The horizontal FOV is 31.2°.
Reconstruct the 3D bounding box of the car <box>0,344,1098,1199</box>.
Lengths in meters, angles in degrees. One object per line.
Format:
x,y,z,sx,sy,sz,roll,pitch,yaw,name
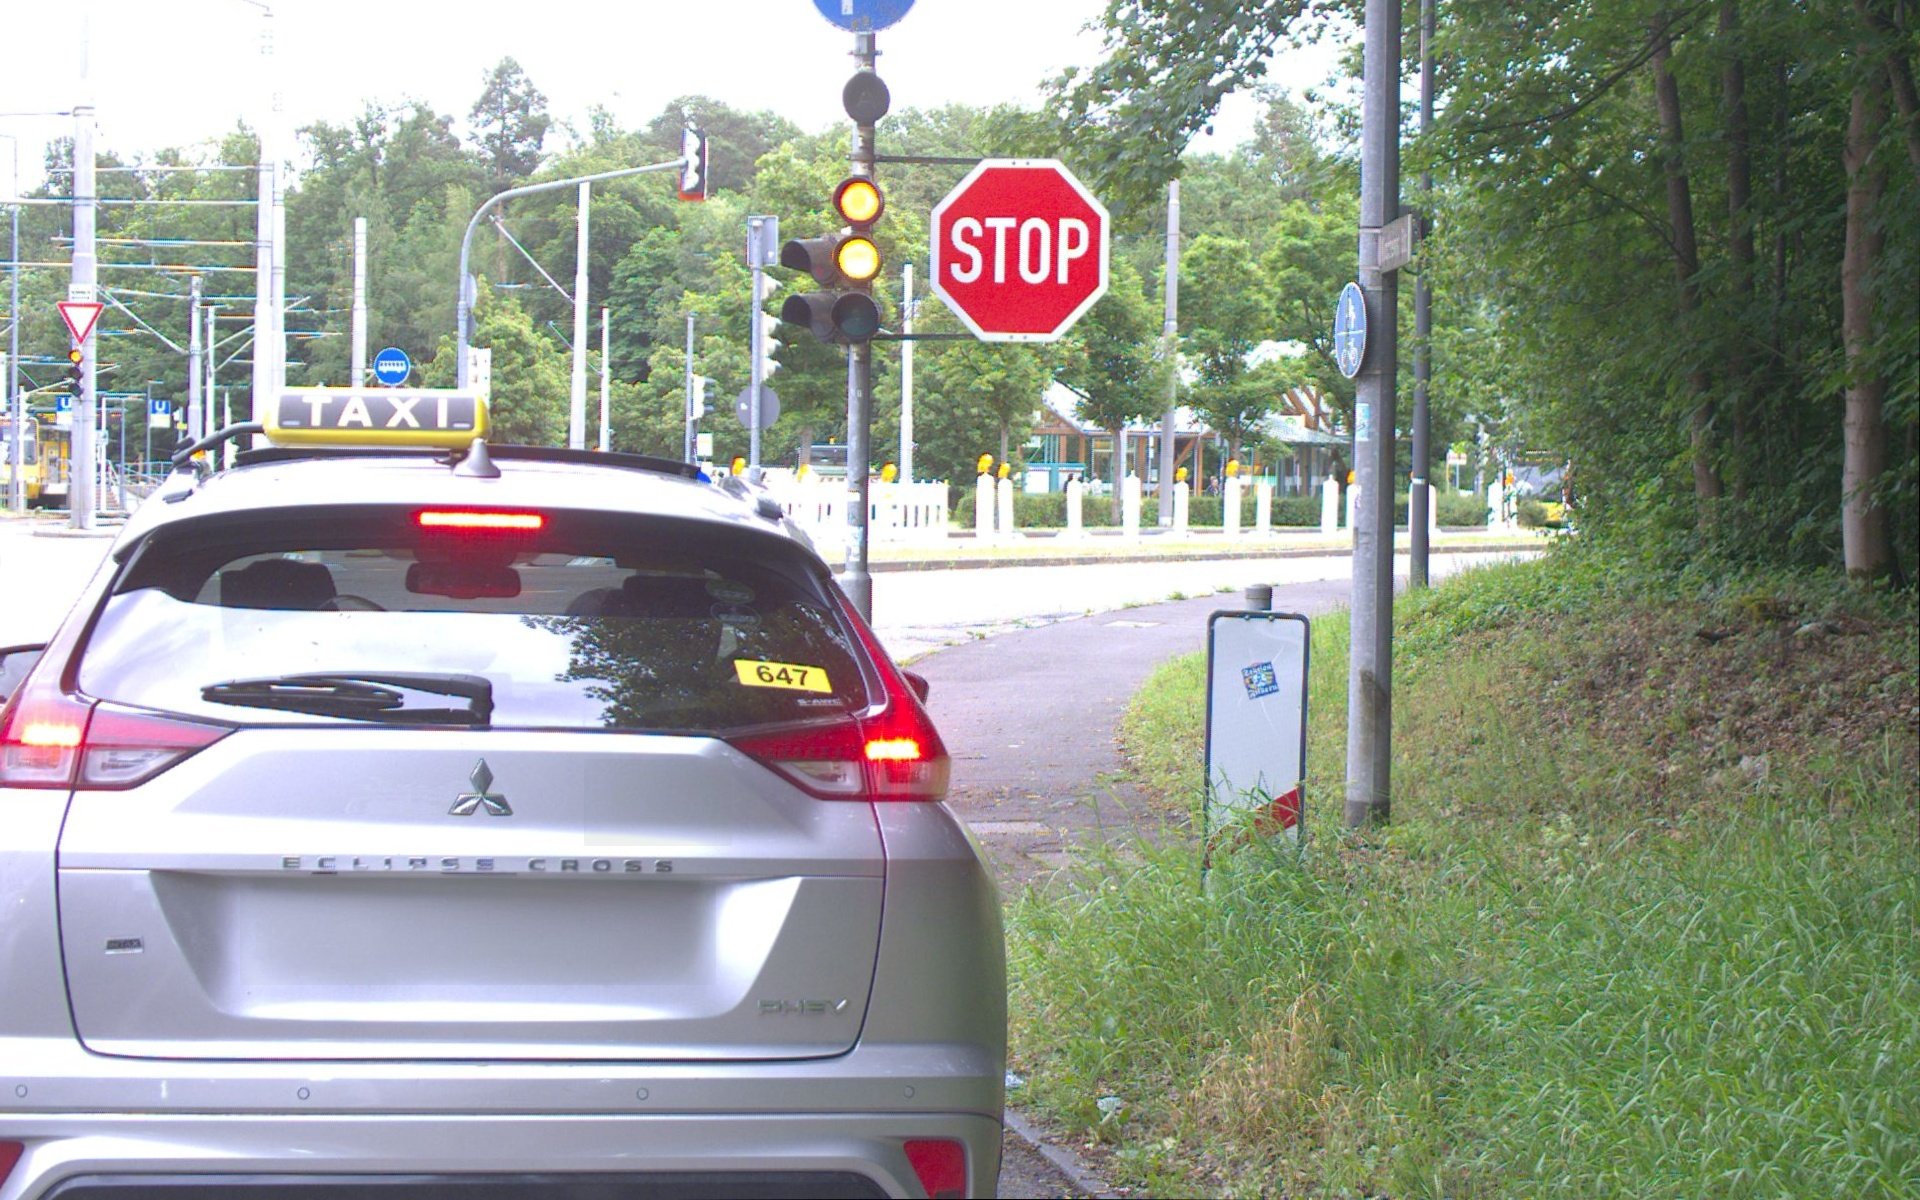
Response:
-0.998,0.469,6.829,1.773,1.742,3.782,2,2,-9,car

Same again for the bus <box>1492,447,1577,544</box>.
22.583,-4.184,135.650,2.822,3.590,12.801,1,2,8,bus
